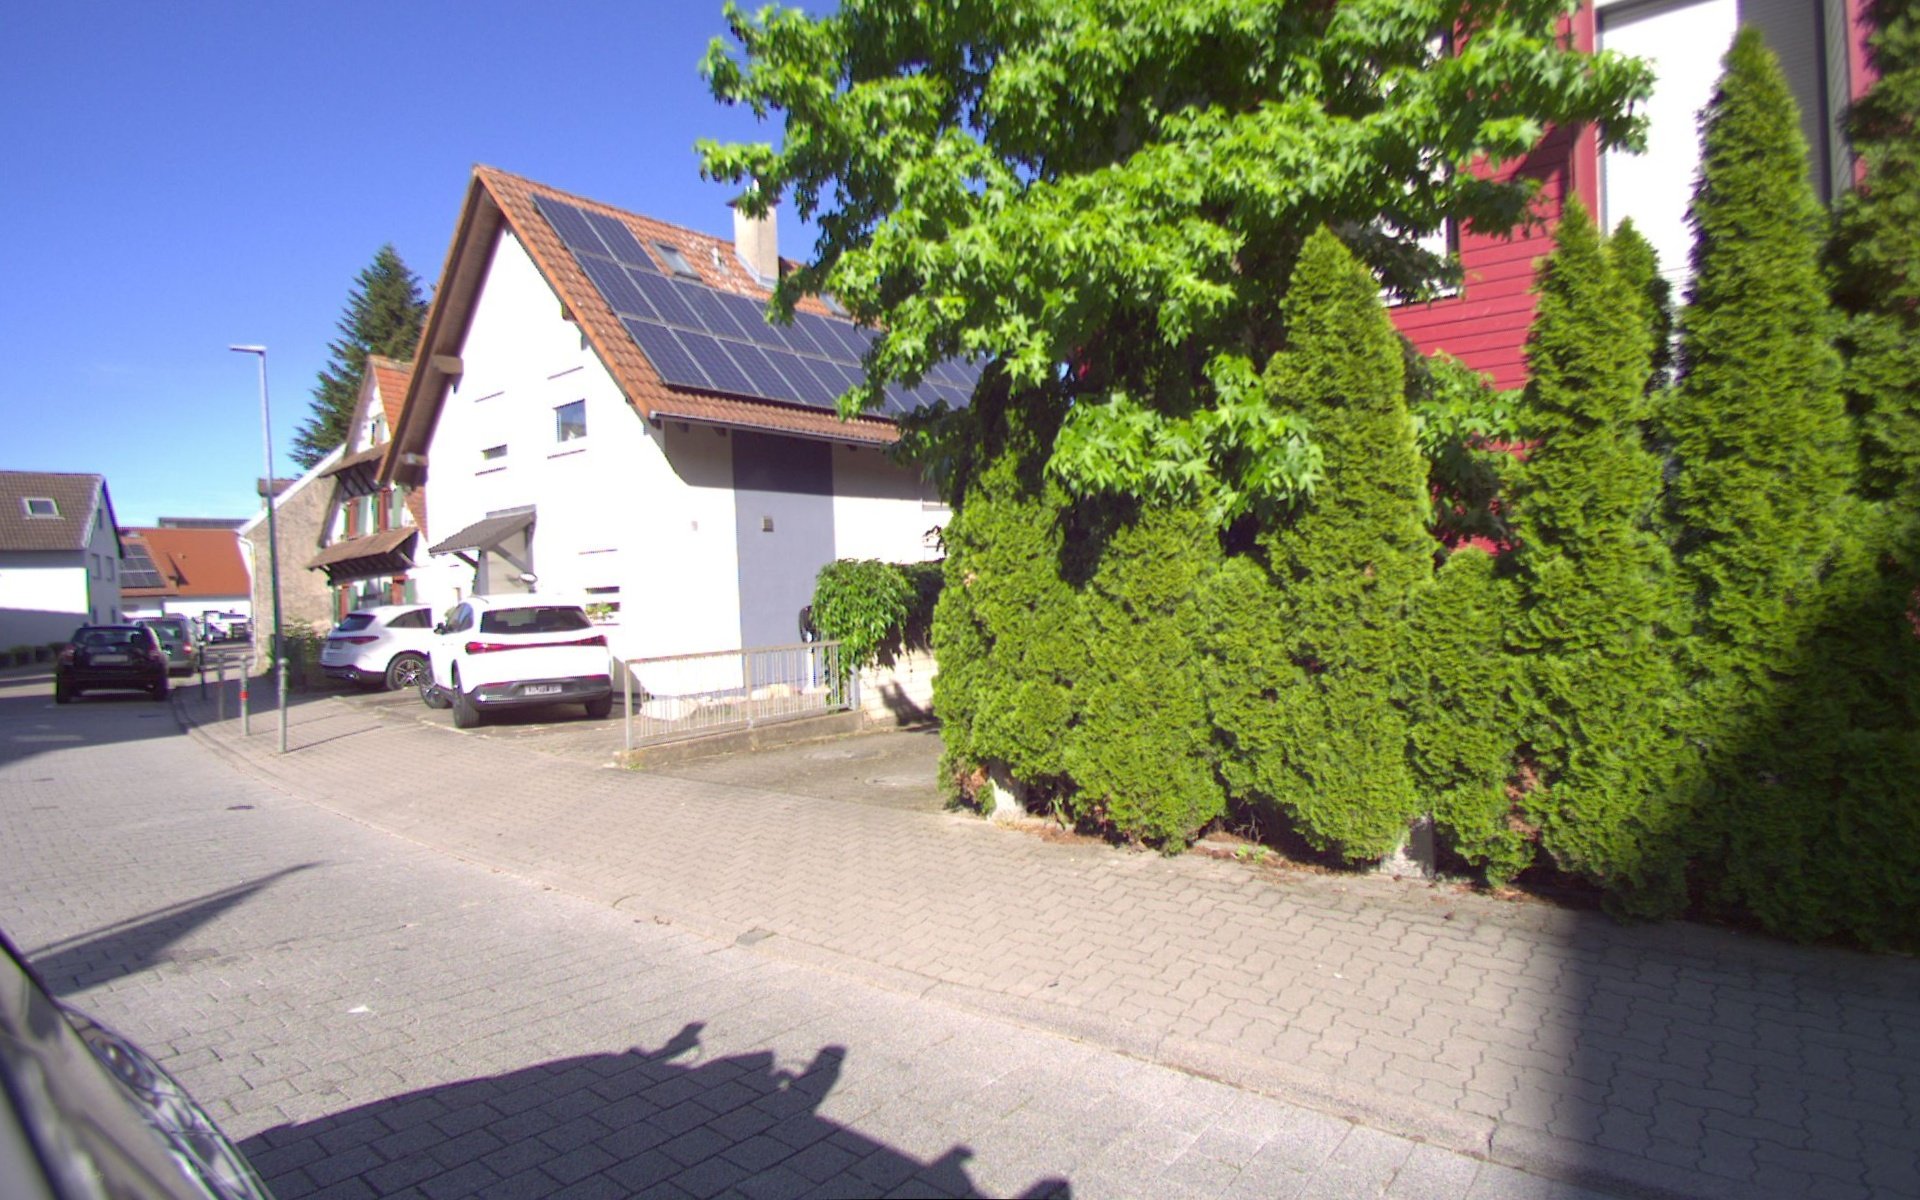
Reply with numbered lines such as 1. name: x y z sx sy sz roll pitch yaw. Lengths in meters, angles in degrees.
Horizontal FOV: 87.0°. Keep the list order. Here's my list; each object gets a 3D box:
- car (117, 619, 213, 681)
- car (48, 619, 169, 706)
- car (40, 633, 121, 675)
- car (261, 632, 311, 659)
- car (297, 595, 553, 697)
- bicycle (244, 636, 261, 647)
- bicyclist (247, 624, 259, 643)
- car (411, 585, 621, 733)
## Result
1. car: -24.654 1.526 31.511 1.807 1.803 4.365 1 -3 -31
2. car: -18.404 1.298 22.040 1.808 1.684 4.361 1 -2 -38
3. car: -34.878 2.108 40.241 1.778 1.489 4.356 0 -1 -32
4. car: -44.008 2.951 66.141 1.862 1.602 4.013 -1 -1 -21
5. car: -10.454 0.844 19.996 1.997 1.601 3.950 -3 1 38
6. bicycle: -50.391 2.975 72.134 0.573 0.767 1.805 0 -1 -21
7. bicyclist: -50.415 2.384 72.150 0.573 1.330 0.610 0 -2 -21
8. car: -6.197 0.696 13.820 1.793 1.607 4.457 -3 1 -34
